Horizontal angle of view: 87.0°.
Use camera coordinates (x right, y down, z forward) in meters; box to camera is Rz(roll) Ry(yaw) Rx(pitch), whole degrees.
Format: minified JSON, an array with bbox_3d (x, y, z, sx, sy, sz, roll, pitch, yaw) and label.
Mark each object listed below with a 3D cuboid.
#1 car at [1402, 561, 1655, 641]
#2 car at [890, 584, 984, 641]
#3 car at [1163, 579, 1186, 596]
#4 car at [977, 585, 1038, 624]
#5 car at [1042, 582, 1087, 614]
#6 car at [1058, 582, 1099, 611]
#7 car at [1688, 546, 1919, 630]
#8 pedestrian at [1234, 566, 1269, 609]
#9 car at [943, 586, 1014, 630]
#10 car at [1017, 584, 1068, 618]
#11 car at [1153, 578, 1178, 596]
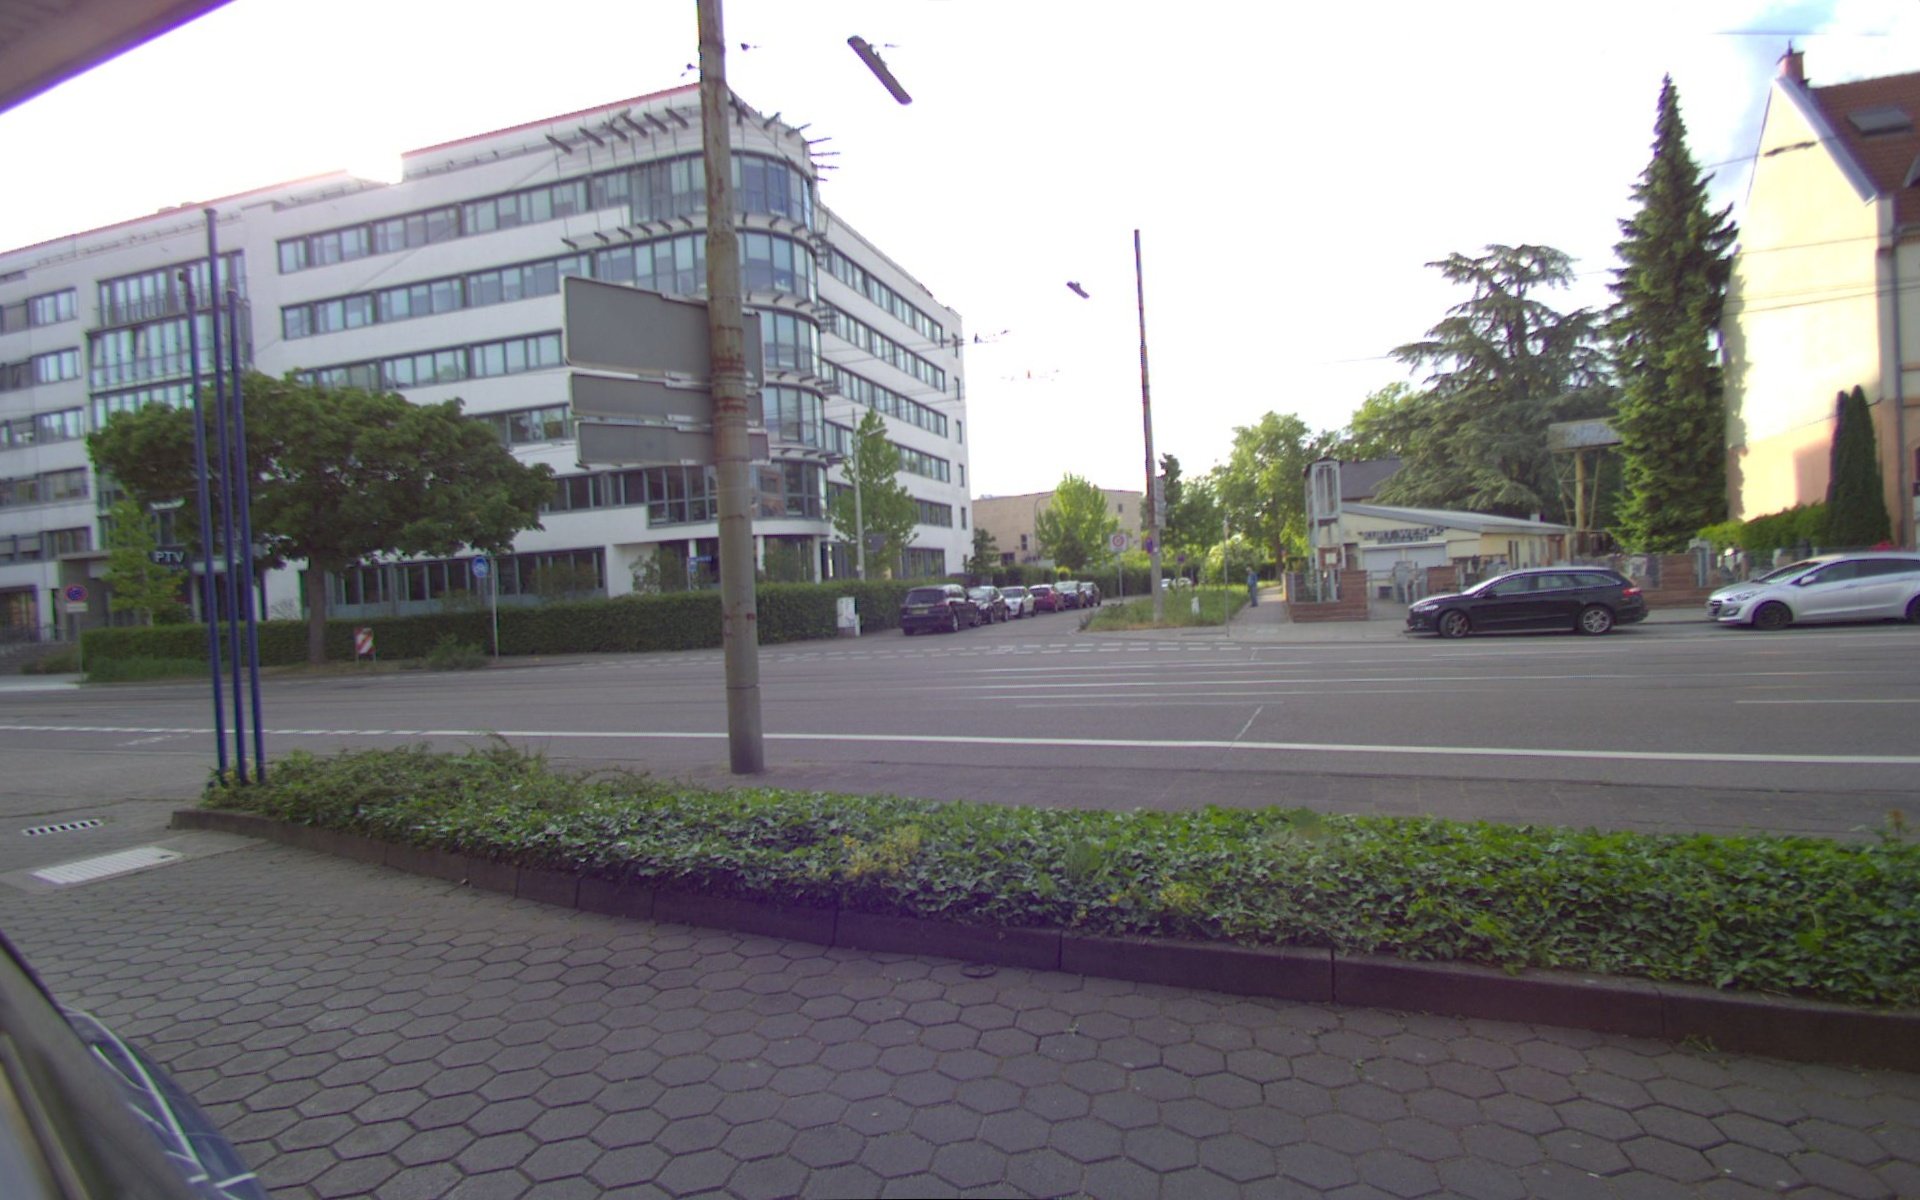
[{"bbox_3d":[12.921,0.037,23.415,4.791,1.507,1.986,-4,0,22],"label":"car"},{"bbox_3d":[-0.717,0.376,35.537,1.962,1.625,4.411,-4,2,17],"label":"car"},{"bbox_3d":[22.573,-1.310,106.310,1.774,1.653,4.060,-4,0,19],"label":"car"},{"bbox_3d":[2.212,0.170,45.755,1.773,1.565,4.083,-4,0,17],"label":"car"},{"bbox_3d":[5.988,-0.143,57.661,1.773,1.653,4.064,-4,0,17],"label":"car"},{"bbox_3d":[7.379,-0.241,62.671,1.773,1.653,4.064,-4,0,17],"label":"car"},{"bbox_3d":[18.497,-0.264,21.498,4.459,1.486,1.986,-4,0,22],"label":"car"},{"bbox_3d":[12.716,-0.537,44.155,0.988,1.843,1.096,-1,0,-28],"label":"pedestrian"},{"bbox_3d":[0.804,0.283,40.894,1.773,1.565,4.083,-4,0,17],"label":"car"},{"bbox_3d":[4.293,0.016,52.360,1.773,1.552,4.018,-4,0,17],"label":"car"},{"bbox_3d":[20.434,-1.281,100.613,1.774,1.653,4.060,-4,0,19],"label":"car"}]
